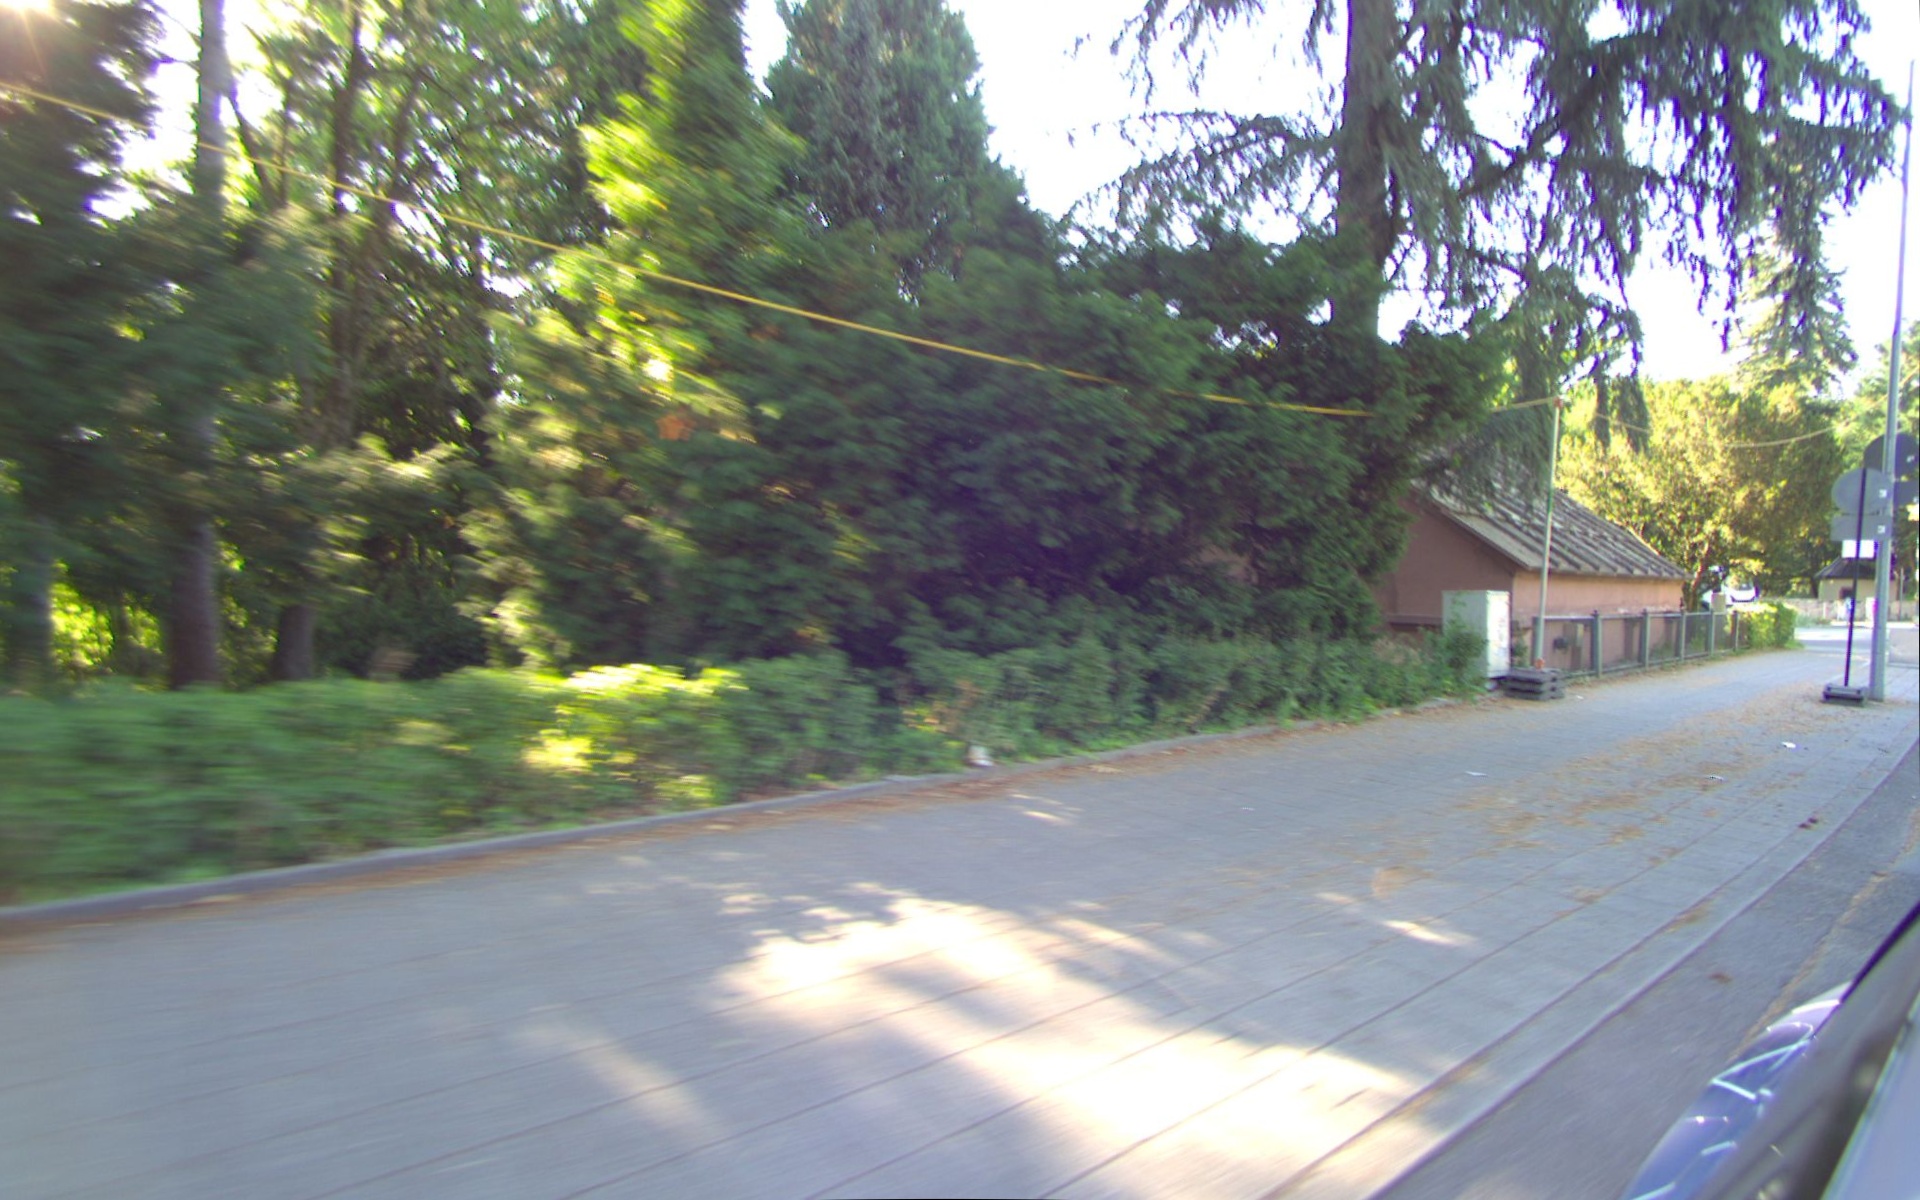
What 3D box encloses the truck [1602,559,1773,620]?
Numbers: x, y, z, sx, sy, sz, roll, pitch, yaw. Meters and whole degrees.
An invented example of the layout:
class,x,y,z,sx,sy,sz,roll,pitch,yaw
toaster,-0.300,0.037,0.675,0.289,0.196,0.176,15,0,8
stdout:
class,x,y,z,sx,sy,sz,roll,pitch,yaw
truck,35.203,-0.506,49.252,2.321,2.786,6.524,0,0,-22
